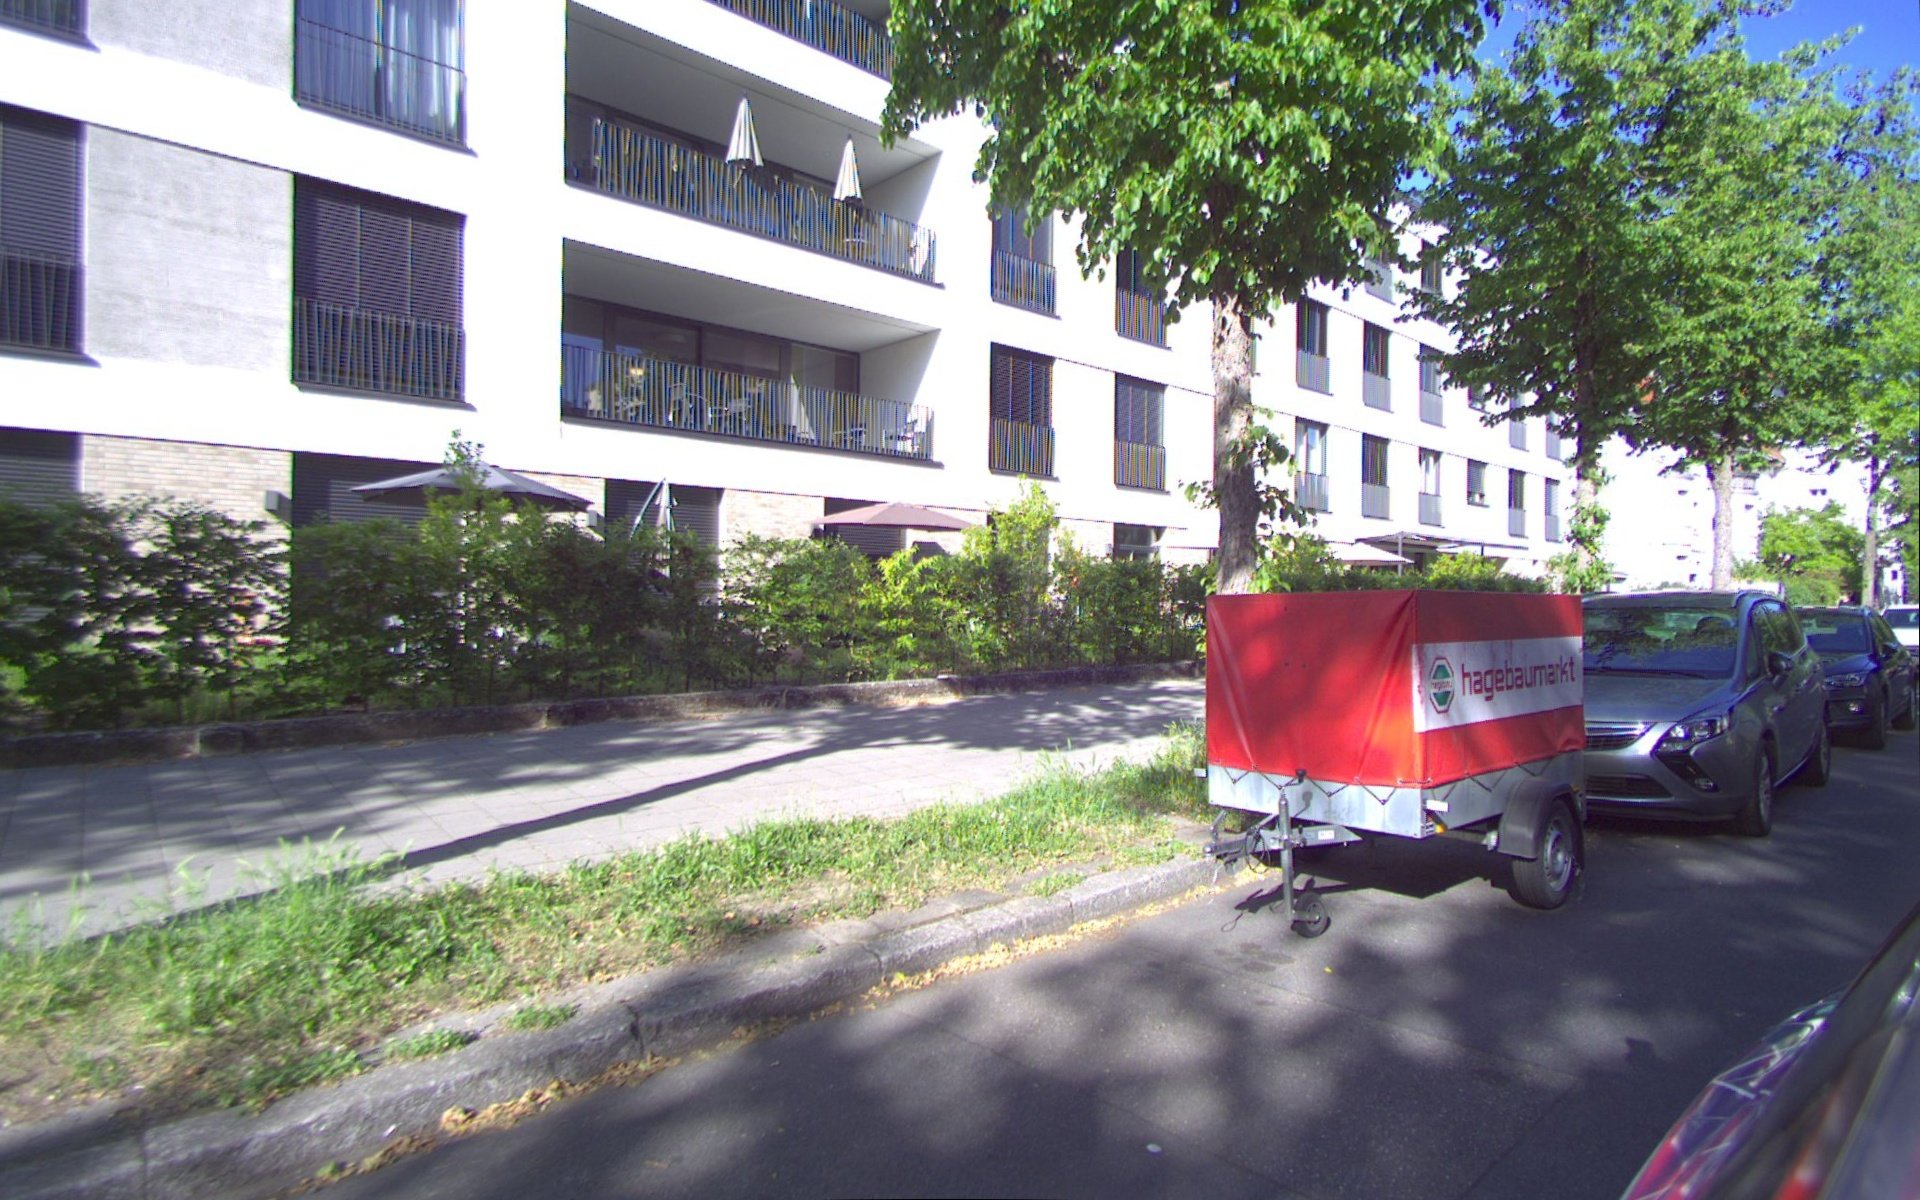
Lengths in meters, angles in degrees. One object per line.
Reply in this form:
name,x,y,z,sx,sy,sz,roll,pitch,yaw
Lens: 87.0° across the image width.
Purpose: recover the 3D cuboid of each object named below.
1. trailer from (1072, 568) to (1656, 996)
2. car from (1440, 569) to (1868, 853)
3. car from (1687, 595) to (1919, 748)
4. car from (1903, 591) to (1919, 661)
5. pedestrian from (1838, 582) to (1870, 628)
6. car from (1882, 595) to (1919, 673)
trailer,2.268,0.697,5.416,3.135,1.599,1.577,0,-2,-40
car,5.817,0.665,8.203,4.736,1.664,1.794,0,-1,-42
car,10.387,0.714,12.196,4.268,1.536,1.721,0,0,-41
car,25.261,0.625,25.282,4.774,1.668,1.901,0,0,-40
pedestrian,40.220,0.207,45.532,0.988,2.039,0.907,0,1,-41
car,20.950,0.681,21.576,1.781,1.537,4.612,0,0,44
